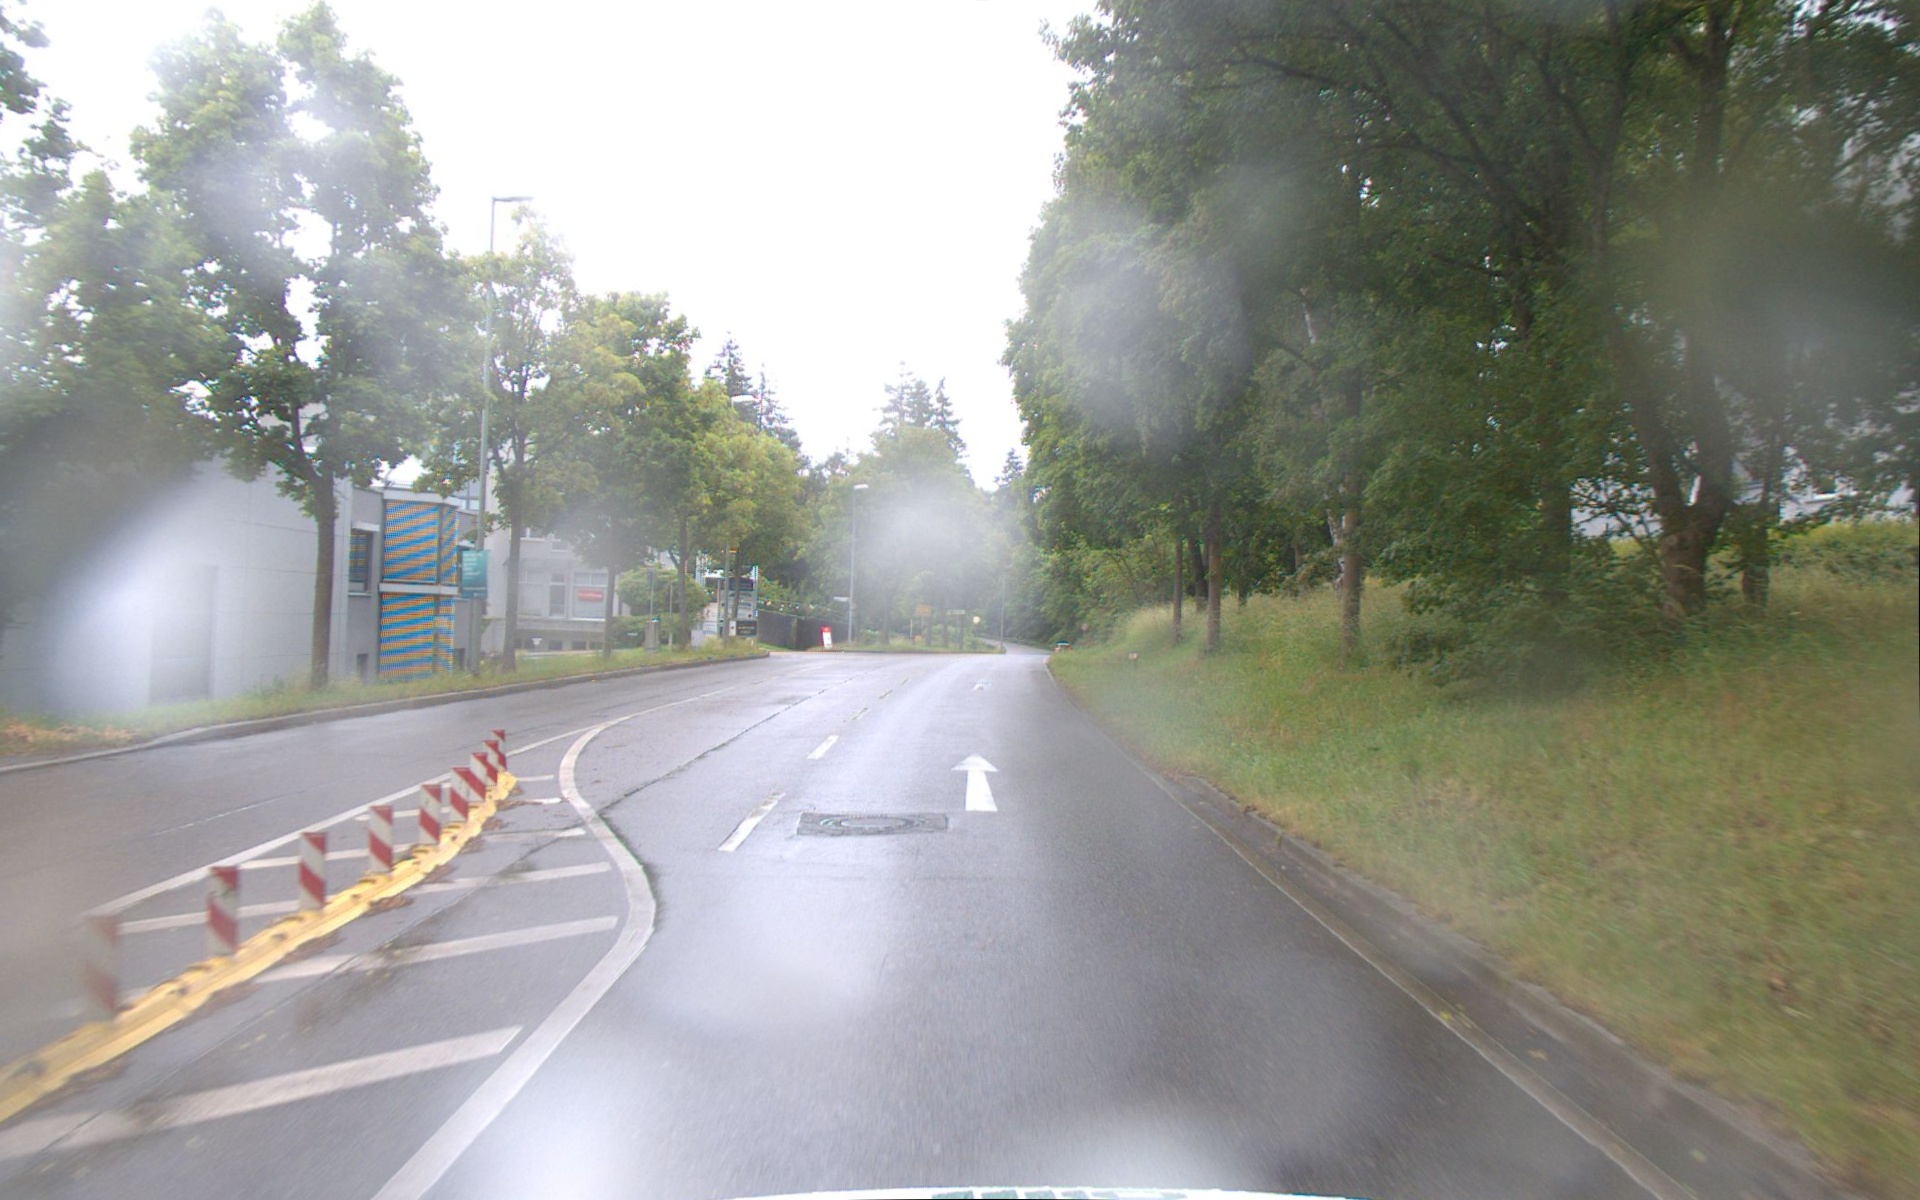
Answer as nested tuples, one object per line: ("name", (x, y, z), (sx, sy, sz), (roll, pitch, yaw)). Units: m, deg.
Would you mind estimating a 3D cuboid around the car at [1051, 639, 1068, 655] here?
("car", (9.796, 4.627, 162.892), (1.700, 1.537, 4.001), (-1, -1, 3))
